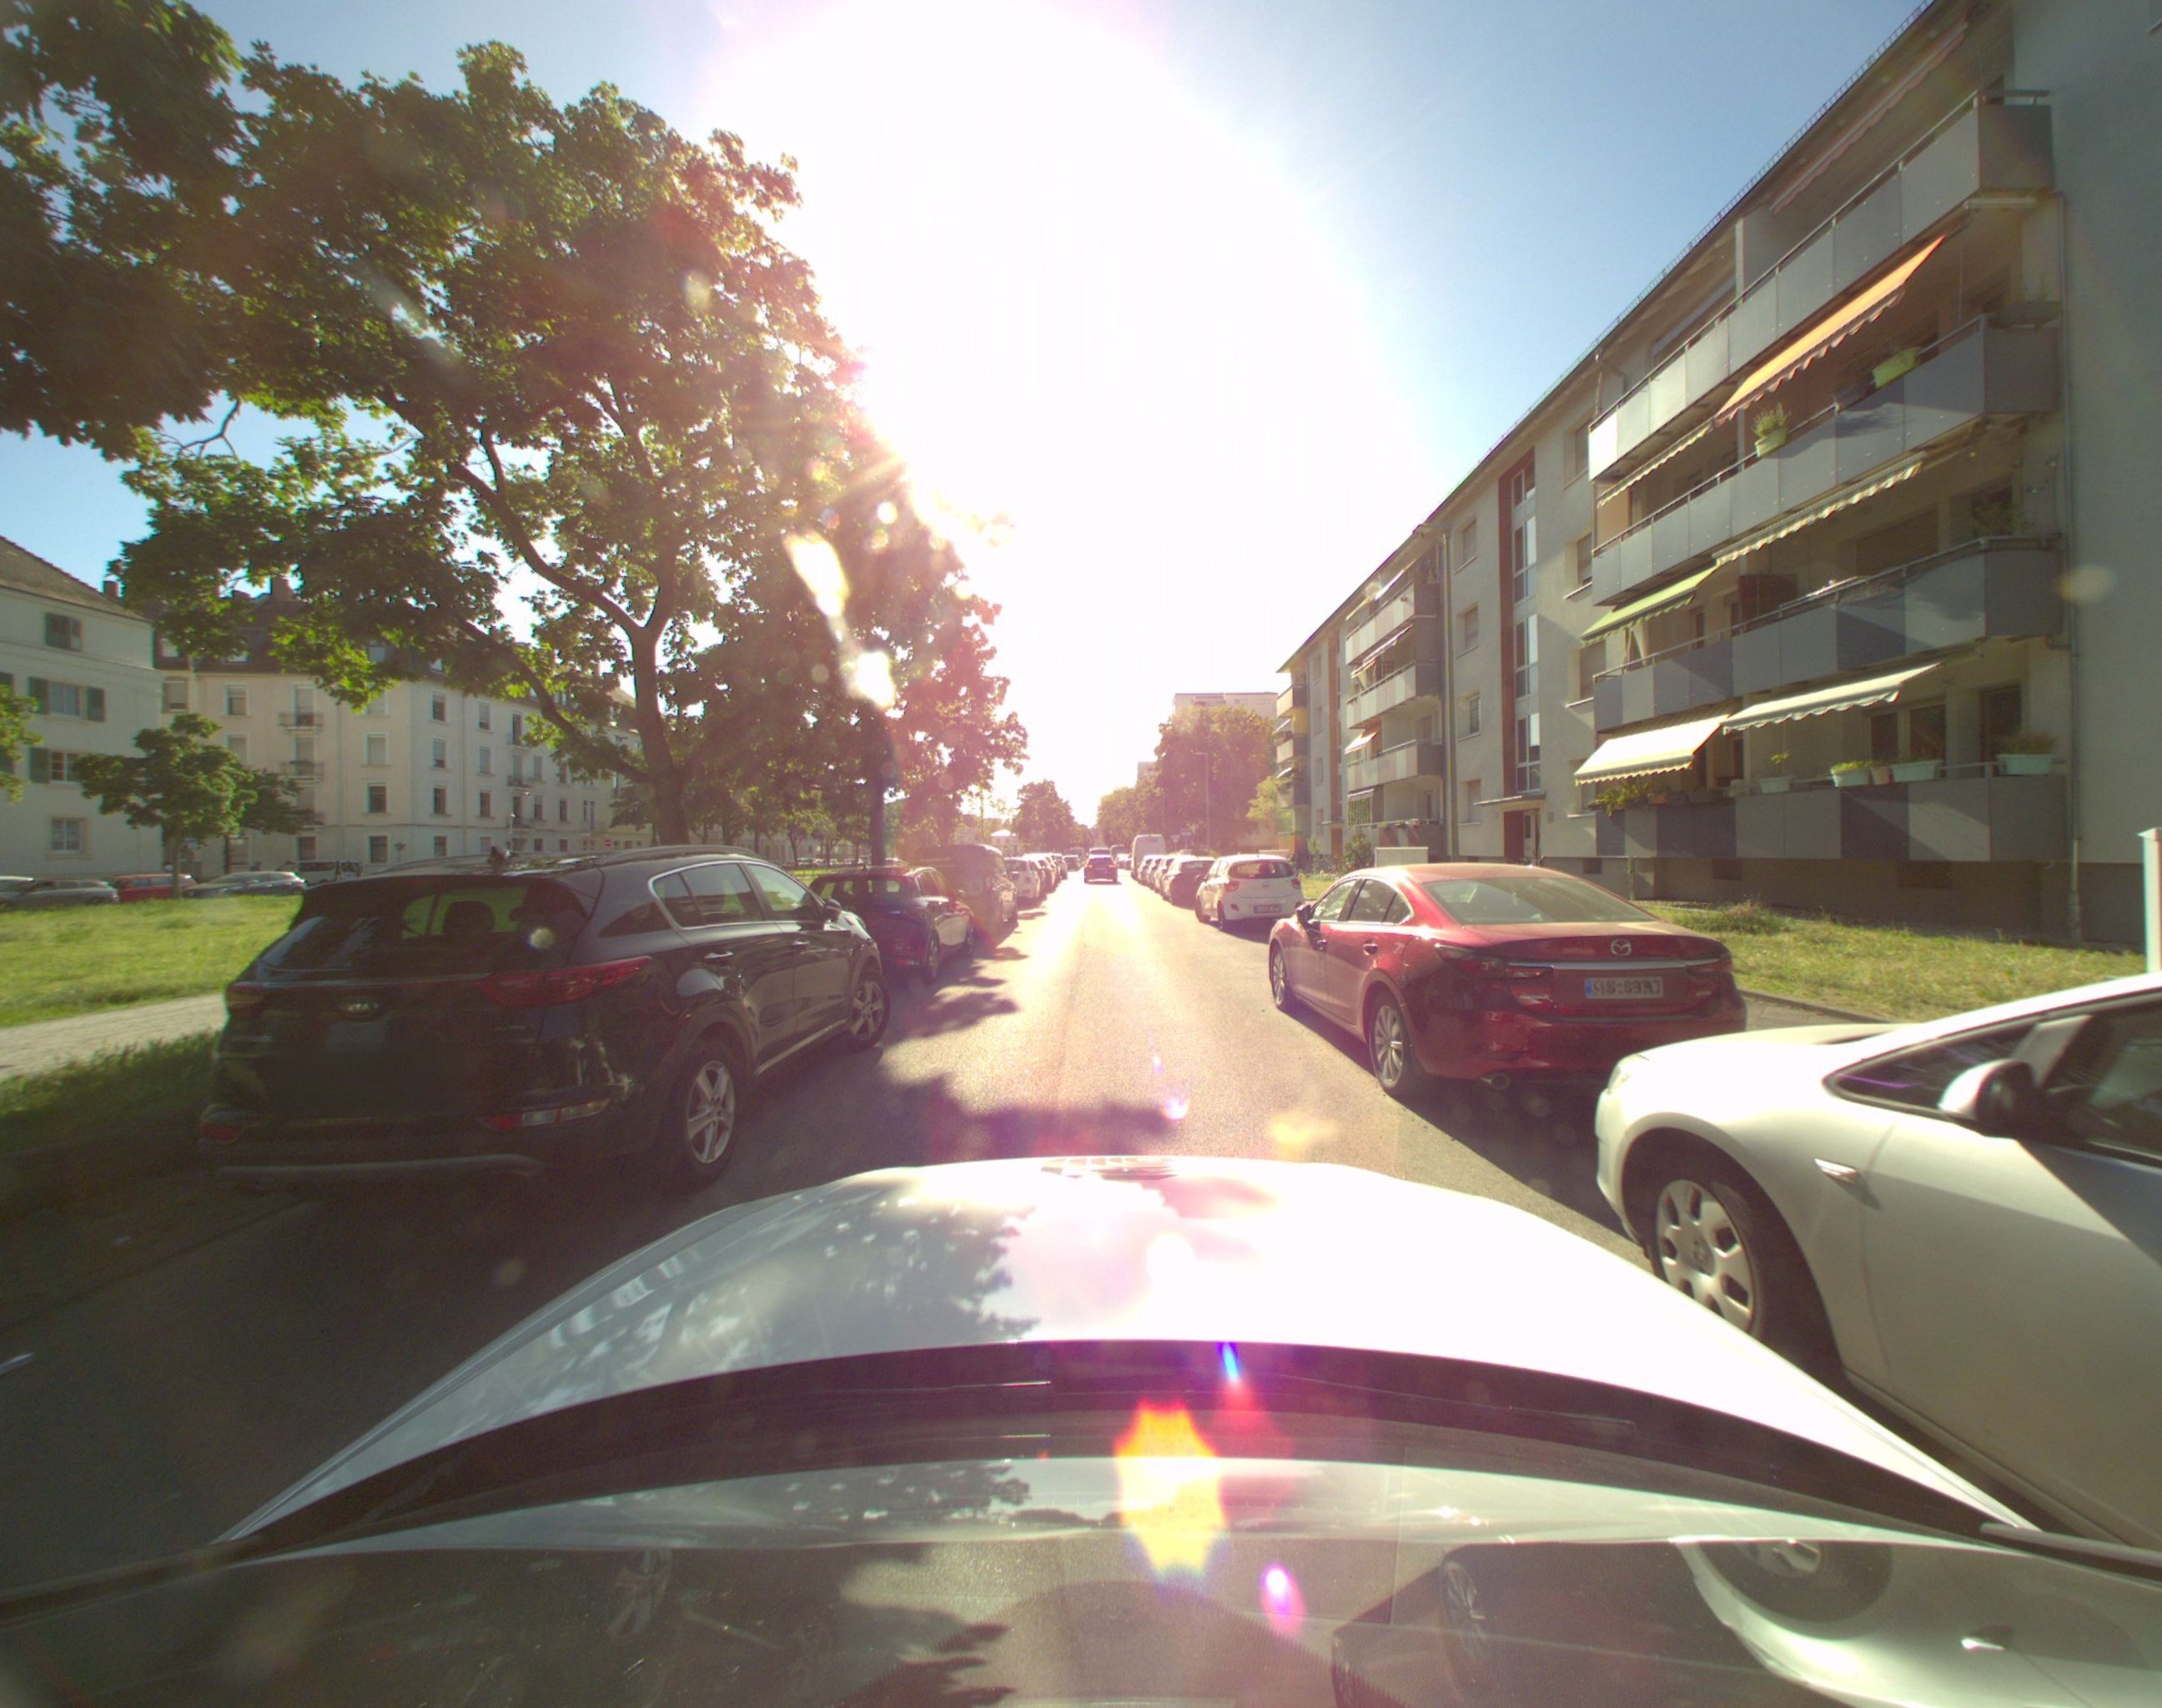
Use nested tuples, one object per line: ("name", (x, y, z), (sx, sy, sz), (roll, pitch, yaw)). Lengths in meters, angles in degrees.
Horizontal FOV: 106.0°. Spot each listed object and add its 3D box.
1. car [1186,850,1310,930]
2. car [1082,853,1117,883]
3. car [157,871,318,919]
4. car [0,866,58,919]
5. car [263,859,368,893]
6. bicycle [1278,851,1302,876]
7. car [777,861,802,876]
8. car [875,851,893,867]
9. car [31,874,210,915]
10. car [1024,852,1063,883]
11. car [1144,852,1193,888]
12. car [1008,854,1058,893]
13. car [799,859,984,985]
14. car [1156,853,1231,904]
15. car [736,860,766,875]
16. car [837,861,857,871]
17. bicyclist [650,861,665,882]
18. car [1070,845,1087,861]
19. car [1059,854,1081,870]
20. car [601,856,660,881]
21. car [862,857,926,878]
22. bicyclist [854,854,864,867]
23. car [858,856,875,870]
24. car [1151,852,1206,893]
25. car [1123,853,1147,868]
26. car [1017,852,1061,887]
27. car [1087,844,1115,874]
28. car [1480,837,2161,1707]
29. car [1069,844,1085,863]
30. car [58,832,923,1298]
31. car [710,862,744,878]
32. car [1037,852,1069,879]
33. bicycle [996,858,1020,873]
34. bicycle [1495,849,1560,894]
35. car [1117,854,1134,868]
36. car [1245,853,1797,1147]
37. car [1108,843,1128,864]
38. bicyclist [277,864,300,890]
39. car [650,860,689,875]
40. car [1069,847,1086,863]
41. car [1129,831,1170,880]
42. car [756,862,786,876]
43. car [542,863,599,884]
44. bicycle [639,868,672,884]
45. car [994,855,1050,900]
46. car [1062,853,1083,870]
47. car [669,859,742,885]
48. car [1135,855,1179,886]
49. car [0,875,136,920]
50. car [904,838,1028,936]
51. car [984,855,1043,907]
("car", (3.478, 0.689, 17.640), (1.743, 1.499, 3.858), (-2, 0, -2))
("car", (1.046, 0.719, 43.761), (1.772, 1.531, 4.002), (0, 0, 2))
("car", (-36.891, 1.729, 35.837), (2.151, 1.820, 4.703), (-1, 0, -1))
("car", (-42.481, 1.510, 31.178), (1.660, 2.014, 3.897), (-1, -1, 0))
("car", (-48.900, 1.399, 52.114), (4.551, 2.013, 2.138), (-1, 0, -3))
("bicycle", (9.914, 0.459, 38.633), (0.594, 1.176, 2.013), (-1, -2, 0))
("car", (-35.871, 1.743, 100.207), (1.627, 1.686, 4.078), (-1, 0, -2))
("car", (-35.509, 0.845, 147.023), (1.910, 2.744, 5.621), (-1, 0, -1))
("car", (-42.358, 1.736, 36.153), (1.987, 1.485, 4.958), (-2, 0, 0))
("car", (-2.116, 0.751, 47.247), (1.836, 1.638, 4.716), (-3, 0, 1))
("car", (3.903, 0.688, 37.029), (1.871, 1.475, 4.141), (-1, 0, 1))
("car", (-2.078, 0.807, 36.127), (1.867, 1.519, 4.469), (-3, 0, 0))
("car", (-2.471, 0.809, 11.617), (1.532, 1.428, 4.089), (-1, 0, 2))
("car", (3.521, 0.717, 26.223), (1.694, 1.435, 4.470), (-3, 0, 0))
("car", (-35.826, 1.440, 88.476), (1.627, 1.549, 4.352), (-1, 0, -2))
("car", (-35.743, 1.769, 124.282), (1.839, 1.440, 3.775), (-1, 0, 1))
("bicyclist", (-29.467, 1.205, 56.644), (0.881, 1.363, 0.617), (0, 2, -32))
("car", (-0.367, -0.146, 138.410), (2.606, 2.645, 6.117), (-1, 0, 2))
("car", (-0.998, 0.748, 75.817), (1.741, 1.425, 3.918), (-3, -1, 2))
("car", (-36.609, 1.153, 66.382), (2.076, 1.872, 5.095), (-1, 0, -2))
("car", (-13.745, 0.973, 59.814), (4.353, 1.409, 1.906), (-1, 2, -24))
("bicyclist", (-32.223, 0.978, 118.122), (0.938, 1.837, 1.449), (-2, -1, 0))
("car", (-35.422, 1.412, 134.565), (1.689, 2.213, 5.005), (-1, 0, -1))
("car", (3.719, 0.667, 31.653), (1.715, 1.435, 4.153), (-2, 0, 1))
("car", (5.257, 0.620, 79.497), (2.117, 1.337, 4.508), (-4, 0, 2))
("car", (-2.078, 0.737, 41.158), (1.813, 1.610, 4.740), (-3, 0, 1))
("car", (1.471, 0.311, 58.333), (1.887, 1.991, 4.012), (-3, 0, 2))
("car", (2.759, 0.728, 1.326), (1.869, 1.534, 4.489), (-1, 0, -2))
("car", (-0.517, -0.036, 112.949), (2.090, 2.496, 4.129), (-1, 0, 2))
("car", (-2.630, 0.772, 5.349), (2.018, 1.625, 4.760), (-2, 0, 2))
("car", (-36.086, 1.607, 83.129), (1.689, 1.526, 4.078), (-1, 0, -2))
("car", (-1.786, 0.722, 53.766), (1.749, 1.647, 4.289), (-3, 0, 2))
("bicycle", (-5.574, 0.893, 62.515), (1.756, 1.127, 0.662), (-1, -1, -3))
("bicycle", (11.458, 0.429, 20.982), (0.521, 1.071, 2.009), (-3, 0, 0))
("car", (4.637, 0.683, 85.458), (1.772, 1.371, 4.129), (-1, 0, 2))
("car", (2.772, 0.741, 6.713), (1.837, 1.472, 5.065), (-1, 0, 0))
("car", (4.856, -0.103, 107.009), (2.157, 2.689, 5.412), (-1, 0, -2))
("bicyclist", (-43.553, 1.263, 44.745), (0.531, 1.364, 0.784), (-1, 0, -6))
("car", (-36.175, 1.180, 71.758), (1.689, 1.279, 3.524), (-1, 0, -2))
("car", (-0.475, 0.110, 106.536), (2.091, 1.942, 4.127), (-1, 0, 1))
("car", (4.091, 0.075, 49.688), (2.134, 2.713, 6.845), (-3, 0, 2))
("car", (-35.984, 1.744, 94.653), (1.751, 1.549, 4.525), (-1, 0, -2))
("car", (-41.870, 1.603, 66.911), (1.989, 1.586, 4.447), (-1, 0, -3))
("bicycle", (-29.547, 1.509, 56.597), (1.987, 1.016, 0.652), (-1, 0, -29))
("car", (-2.148, 0.832, 30.957), (1.750, 1.492, 4.667), (-3, 0, 0))
("car", (-0.799, 0.730, 80.337), (1.770, 1.495, 3.877), (-3, -1, 2))
("car", (-25.277, 1.214, 54.991), (4.353, 1.576, 1.914), (-2, 0, -24))
("car", (3.842, 0.806, 41.716), (1.843, 1.466, 4.201), (0, 0, 0))
("car", (-39.442, 1.625, 30.628), (1.987, 1.485, 4.958), (-2, 0, 0))
("car", (-2.307, 0.639, 17.696), (1.858, 1.785, 4.992), (-1, -1, 1))
("car", (-2.138, 0.809, 26.512), (1.581, 1.492, 3.684), (-3, 0, -1))
